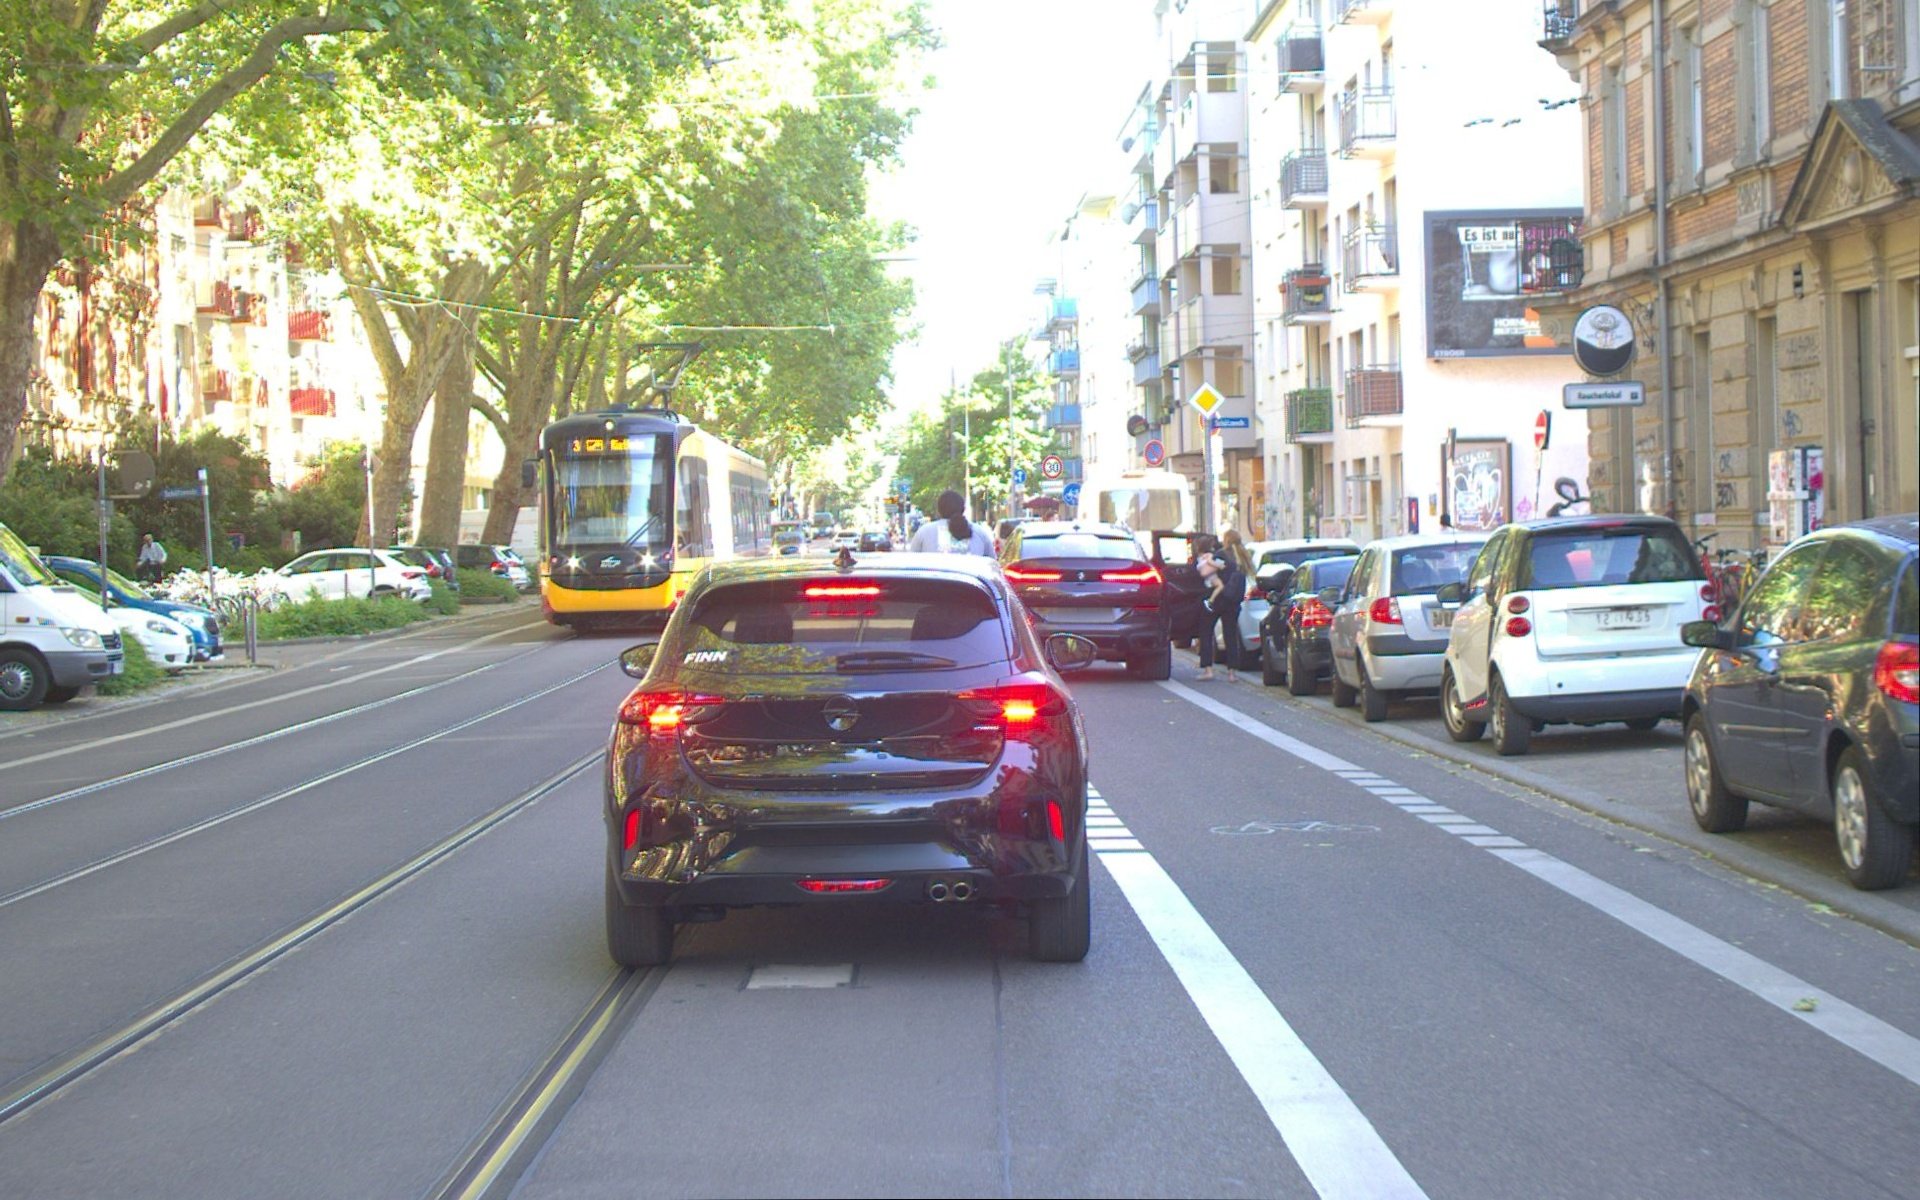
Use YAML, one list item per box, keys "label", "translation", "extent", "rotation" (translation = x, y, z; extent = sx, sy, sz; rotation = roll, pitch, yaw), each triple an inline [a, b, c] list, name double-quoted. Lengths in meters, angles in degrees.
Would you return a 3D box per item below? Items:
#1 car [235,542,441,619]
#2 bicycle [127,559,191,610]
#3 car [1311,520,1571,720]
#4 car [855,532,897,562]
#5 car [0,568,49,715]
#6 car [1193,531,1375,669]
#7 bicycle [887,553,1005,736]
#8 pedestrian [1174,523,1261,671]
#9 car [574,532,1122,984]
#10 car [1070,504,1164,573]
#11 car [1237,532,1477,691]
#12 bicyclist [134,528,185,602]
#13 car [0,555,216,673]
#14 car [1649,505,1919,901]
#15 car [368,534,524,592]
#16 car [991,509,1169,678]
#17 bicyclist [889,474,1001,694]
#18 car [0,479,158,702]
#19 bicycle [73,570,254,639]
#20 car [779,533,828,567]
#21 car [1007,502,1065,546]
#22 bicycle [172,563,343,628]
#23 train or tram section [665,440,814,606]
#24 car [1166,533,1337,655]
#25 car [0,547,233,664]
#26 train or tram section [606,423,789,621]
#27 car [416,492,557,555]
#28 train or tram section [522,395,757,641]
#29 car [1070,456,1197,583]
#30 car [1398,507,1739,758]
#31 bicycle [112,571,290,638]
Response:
- label: "car"
  translation: [-12.533, -0.395, 69.465]
  extent: [3.919, 1.493, 1.677]
  rotation: [1, 1, -3]
- label: "bicycle"
  translation: [-19.155, -0.381, 82.276]
  extent: [0.987, 1.165, 2.953]
  rotation: [-1, 1, -3]
- label: "car"
  translation: [3.968, 0.123, 28.873]
  extent: [1.705, 1.451, 3.697]
  rotation: [-4, 1, 2]
- label: "car"
  translation: [-3.783, -2.417, 155.731]
  extent: [1.810, 1.333, 3.933]
  rotation: [-1, 1, 0]
- label: "car"
  translation: [-11.670, 0.401, 35.890]
  extent: [3.919, 1.493, 1.677]
  rotation: [1, 1, -3]
- label: "car"
  translation: [3.728, -0.035, 40.071]
  extent: [1.661, 1.414, 3.933]
  rotation: [-4, 1, 0]
- label: "bicycle"
  translation: [-0.133, 0.327, 27.817]
  extent: [0.860, 1.402, 2.524]
  rotation: [-1, 1, -2]
- label: "pedestrian"
  translation: [2.761, -0.039, 36.803]
  extent: [0.866, 1.561, 0.768]
  rotation: [0, 1, 8]
- label: "car"
  translation: [-0.406, 0.486, 13.103]
  extent: [1.793, 1.436, 3.532]
  rotation: [-1, 2, -1]
- label: "car"
  translation: [3.417, -1.352, 75.442]
  extent: [1.810, 1.333, 3.933]
  rotation: [-4, 1, 0]
- label: "car"
  translation: [3.808, 0.069, 33.582]
  extent: [1.810, 1.333, 3.933]
  rotation: [-4, 1, 0]
- label: "bicyclist"
  translation: [-19.157, -0.848, 82.266]
  extent: [0.987, 1.750, 1.154]
  rotation: [-1, 1, -3]
- label: "car"
  translation: [-11.885, 0.170, 45.111]
  extent: [3.919, 1.493, 1.677]
  rotation: [1, 1, -3]
- label: "car"
  translation: [4.323, 0.336, 15.211]
  extent: [1.710, 1.478, 3.764]
  rotation: [-4, 1, 0]
- label: "car"
  translation: [-13.522, -0.974, 90.536]
  extent: [3.919, 1.493, 1.677]
  rotation: [1, 1, -3]
- label: "car"
  translation: [1.263, -0.099, 37.710]
  extent: [1.810, 1.736, 3.933]
  rotation: [1, 1, 0]
- label: "bicyclist"
  translation: [-0.130, -0.135, 27.809]
  extent: [0.848, 1.734, 1.162]
  rotation: [-1, 1, -2]
- label: "car"
  translation: [-12.580, -0.148, 38.465]
  extent: [6.627, 2.401, 2.458]
  rotation: [1, 1, -1]
- label: "bicycle"
  translation: [-13.791, 0.075, 59.539]
  extent: [2.945, 1.165, 0.989]
  rotation: [0, 1, 16]
- label: "car"
  translation: [-6.441, -2.072, 141.974]
  extent: [1.810, 1.333, 3.933]
  rotation: [-1, 1, 0]
- label: "car"
  translation: [2.573, -2.563, 116.862]
  extent: [1.810, 1.333, 3.933]
  rotation: [-4, 1, 0]
- label: "bicycle"
  translation: [-12.885, -0.078, 63.038]
  extent: [2.945, 1.165, 0.989]
  rotation: [0, 1, 16]
- label: "train or tram section"
  translation: [-5.259, -1.857, 84.139]
  extent: [2.735, 3.669, 12.717]
  rotation: [-2, 1, 0]
- label: "car"
  translation: [3.739, -0.109, 44.637]
  extent: [1.810, 1.375, 3.933]
  rotation: [-4, 1, 0]
- label: "car"
  translation: [-12.177, 0.059, 47.596]
  extent: [3.919, 1.572, 1.677]
  rotation: [1, 1, -3]
- label: "train or tram section"
  translation: [-5.278, -1.587, 71.402]
  extent: [2.735, 3.669, 12.717]
  rotation: [-2, 1, 0]
- label: "car"
  translation: [-13.732, -2.217, 99.826]
  extent: [3.919, 1.784, 1.677]
  rotation: [1, 1, -3]
- label: "train or tram section"
  translation: [-5.251, -1.363, 58.675]
  extent: [2.735, 3.669, 12.717]
  rotation: [-2, 1, 0]
- label: "car"
  translation: [3.304, -1.547, 66.446]
  extent: [2.075, 2.211, 4.933]
  rotation: [-4, 1, 0]
- label: "car"
  translation: [4.146, 0.188, 23.821]
  extent: [1.567, 1.512, 3.041]
  rotation: [-4, 1, -3]
- label: "bicycle"
  translation: [-13.428, 0.077, 60.826]
  extent: [2.945, 1.165, 0.989]
  rotation: [0, 1, 16]
